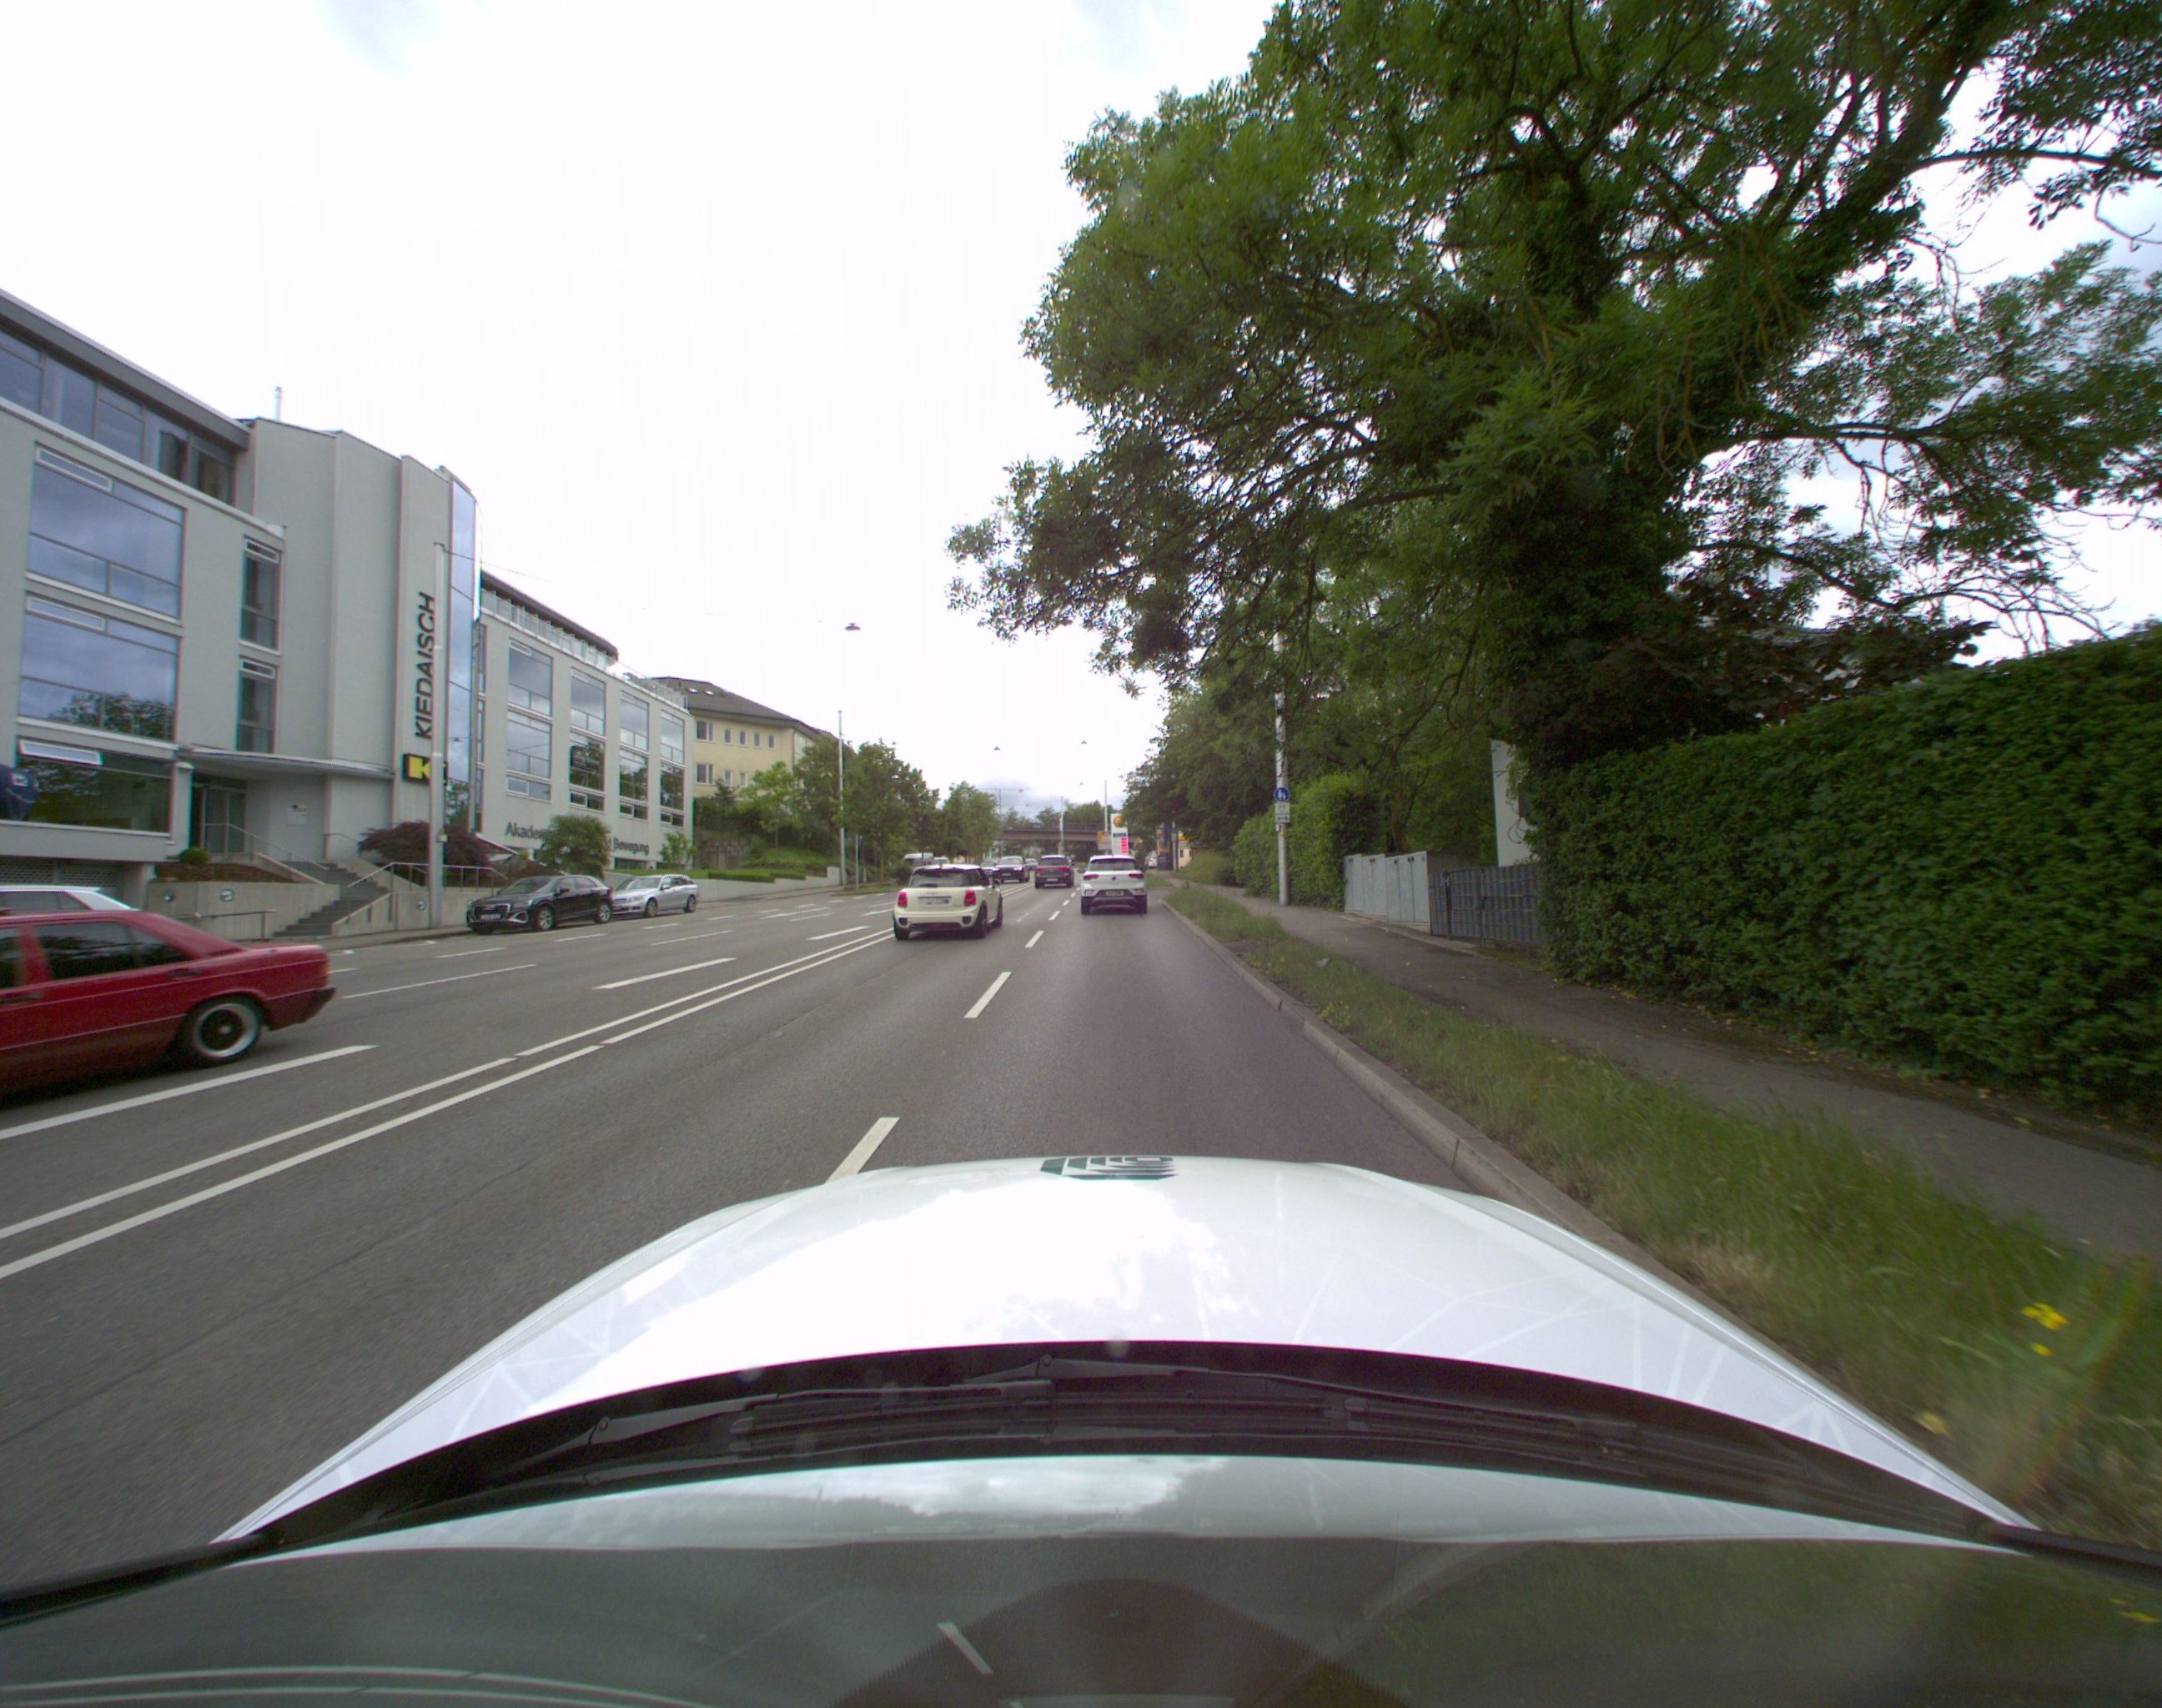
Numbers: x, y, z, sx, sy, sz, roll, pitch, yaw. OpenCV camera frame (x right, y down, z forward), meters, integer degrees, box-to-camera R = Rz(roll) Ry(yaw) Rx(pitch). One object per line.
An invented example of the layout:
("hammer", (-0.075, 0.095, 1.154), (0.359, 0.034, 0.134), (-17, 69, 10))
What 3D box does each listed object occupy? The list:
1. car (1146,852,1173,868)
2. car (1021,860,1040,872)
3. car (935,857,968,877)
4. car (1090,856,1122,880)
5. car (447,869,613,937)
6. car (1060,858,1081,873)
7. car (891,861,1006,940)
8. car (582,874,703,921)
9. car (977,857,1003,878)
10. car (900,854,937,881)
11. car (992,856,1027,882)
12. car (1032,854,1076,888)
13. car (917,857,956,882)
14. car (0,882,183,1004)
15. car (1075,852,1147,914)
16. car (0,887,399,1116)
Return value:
("car", (7.875, 0.569, 81.548), (1.843, 1.500, 4.074), (-2, 0, 18))
("car", (-6.411, 1.505, 102.630), (1.896, 1.542, 4.675), (-1, 0, -11))
("car", (-10.645, 1.040, 67.224), (2.063, 1.580, 4.689), (-1, 0, -2))
("car", (1.631, 0.957, 54.520), (1.868, 1.501, 4.551), (2, -1, -2))
("car", (-14.941, 1.267, 22.374), (1.764, 1.634, 3.918), (-1, 0, 2))
("car", (-1.276, 1.367, 95.957), (1.857, 1.652, 4.622), (-1, 0, -9))
("car", (-2.604, 0.867, 16.721), (1.621, 1.393, 3.567), (-2, 0, 2))
("car", (-14.922, 1.440, 27.981), (1.764, 1.407, 4.145), (-1, 0, 2))
("car", (-7.108, 1.017, 63.978), (1.893, 1.542, 4.685), (-1, 0, -5))
("car", (-14.098, 1.146, 70.952), (2.062, 2.306, 5.465), (-1, 0, 0))
("car", (-4.568, 0.949, 52.525), (1.891, 1.542, 4.689), (-1, 0, -2))
("car", (-1.320, 0.840, 42.261), (1.805, 1.652, 4.640), (-2, 0, 3))
("car", (-10.219, 1.075, 57.838), (2.063, 1.656, 4.689), (-1, 0, -2))
("car", (-14.738, 1.187, 10.316), (1.763, 1.499, 4.310), (-1, 0, 4))
("car", (0.857, 0.745, 22.718), (1.804, 1.539, 3.692), (-2, 0, 2))
("car", (-7.715, 1.005, 5.589), (1.733, 1.352, 4.851), (-1, 0, 4))
